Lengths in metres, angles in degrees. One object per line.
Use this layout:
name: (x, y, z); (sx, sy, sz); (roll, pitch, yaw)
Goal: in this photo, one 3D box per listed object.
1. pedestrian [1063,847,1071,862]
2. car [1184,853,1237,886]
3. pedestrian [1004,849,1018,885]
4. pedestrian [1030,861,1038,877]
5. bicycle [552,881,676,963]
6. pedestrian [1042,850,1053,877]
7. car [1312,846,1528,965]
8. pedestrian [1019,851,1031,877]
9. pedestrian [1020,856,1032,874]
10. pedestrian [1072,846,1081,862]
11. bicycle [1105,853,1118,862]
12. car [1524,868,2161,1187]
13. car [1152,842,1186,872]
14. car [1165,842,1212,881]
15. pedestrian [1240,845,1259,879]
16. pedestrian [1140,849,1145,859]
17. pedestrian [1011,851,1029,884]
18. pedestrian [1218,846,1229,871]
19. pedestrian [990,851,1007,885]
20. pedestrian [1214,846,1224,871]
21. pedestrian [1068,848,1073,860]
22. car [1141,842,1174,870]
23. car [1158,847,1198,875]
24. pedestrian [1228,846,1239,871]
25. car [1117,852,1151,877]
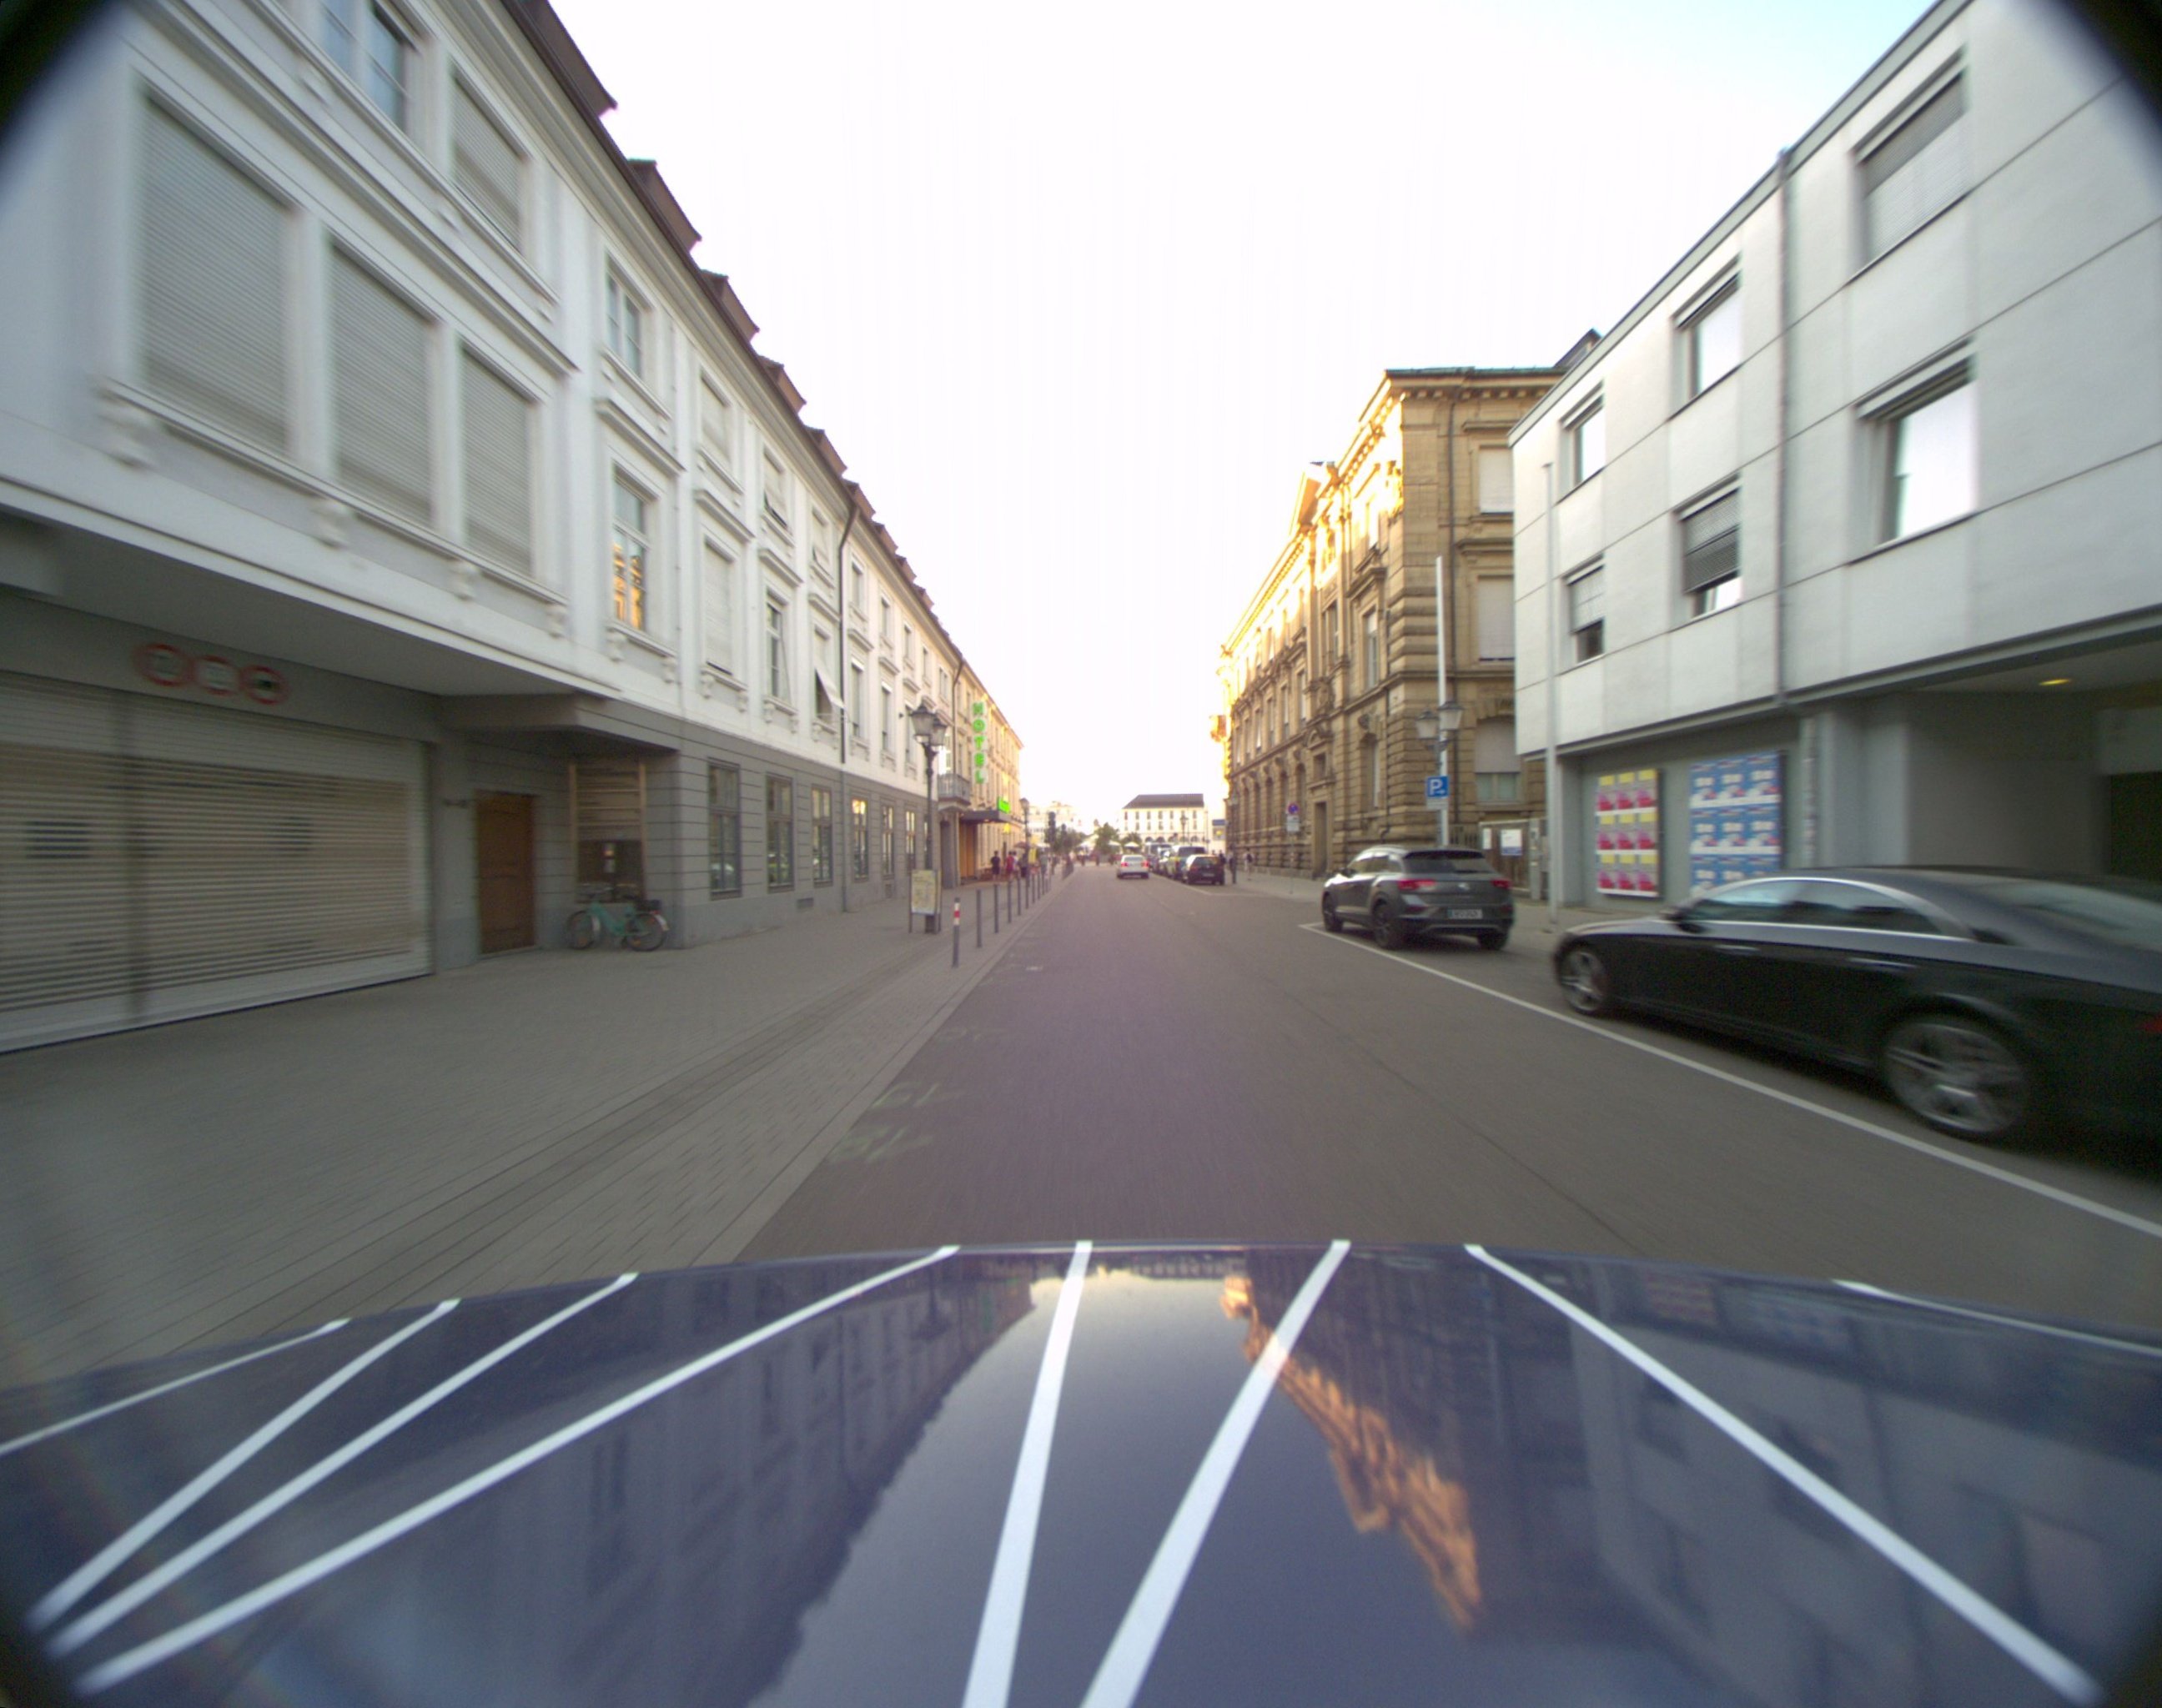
pedestrian: (-1.607, 0.043, 87.452); (0.607, 1.720, 0.719); (0, 1, 44)
car: (6.271, 0.709, 37.147); (1.998, 1.486, 4.164); (-1, 1, 2)
pedestrian: (-3.577, 0.658, 38.771); (0.622, 1.779, 0.913); (-1, 1, -6)
pedestrian: (-2.933, 0.946, 47.386); (0.461, 0.974, 0.558); (-1, 1, 3)
bicycle: (-7.469, 1.083, 12.177); (1.661, 1.245, 0.439); (-1, 1, -1)
pedestrian: (-2.145, 0.583, 48.061); (0.608, 1.720, 0.558); (-1, 1, 2)
car: (5.265, 0.701, 12.468); (1.789, 1.605, 4.166); (-1, 0, 2)
pedestrian: (-3.500, 0.627, 47.560); (0.631, 1.591, 0.615); (-1, 1, 3)
pedestrian: (-4.243, 0.846, 58.808); (0.777, 1.351, 0.723); (-1, 1, -15)
pedestrian: (-0.482, 0.003, 87.506); (0.667, 1.720, 0.767); (0, 1, 44)
bicycle: (4.206, 0.486, 105.114); (1.683, 1.115, 0.846); (-1, 1, 35)
car: (5.313, 0.863, 5.628); (1.789, 1.400, 4.088); (-1, 0, 2)
car: (6.354, 0.162, 55.407); (1.998, 2.075, 5.207); (-1, 1, 2)
car: (6.125, 0.380, 43.779); (1.998, 2.066, 4.989); (-1, 1, 1)
pedestrian: (8.947, 0.429, 40.344); (0.715, 1.720, 0.896); (-4, 1, 3)
pedestrian: (10.168, 0.004, 125.502); (0.856, 1.720, 0.881); (-1, 1, 5)
pedestrian: (-3.209, 0.710, 39.903); (0.749, 1.720, 0.881); (-1, 1, 5)
pedestrian: (10.108, 0.301, 53.858); (0.583, 1.720, 0.831); (-1, 1, 3)
pedestrian: (-4.268, 0.706, 39.440); (0.715, 1.720, 0.873); (-1, 1, 3)
pedestrian: (9.744, 0.310, 53.710); (0.575, 1.720, 0.744); (-1, 1, 3)
pedestrian: (-1.356, -0.019, 99.810); (0.683, 1.557, 0.653); (-1, 1, -1)
car: (6.252, 0.158, 62.540); (1.999, 2.158, 5.206); (-1, 0, -1)
car: (6.305, 0.420, 49.996); (1.998, 1.742, 4.989); (-1, 1, 0)
pedestrian: (10.853, 0.306, 54.118); (0.608, 1.720, 0.703); (-1, 1, 3)
car: (3.167, 0.594, 45.972); (1.789, 1.400, 4.088); (-1, 0, 0)
